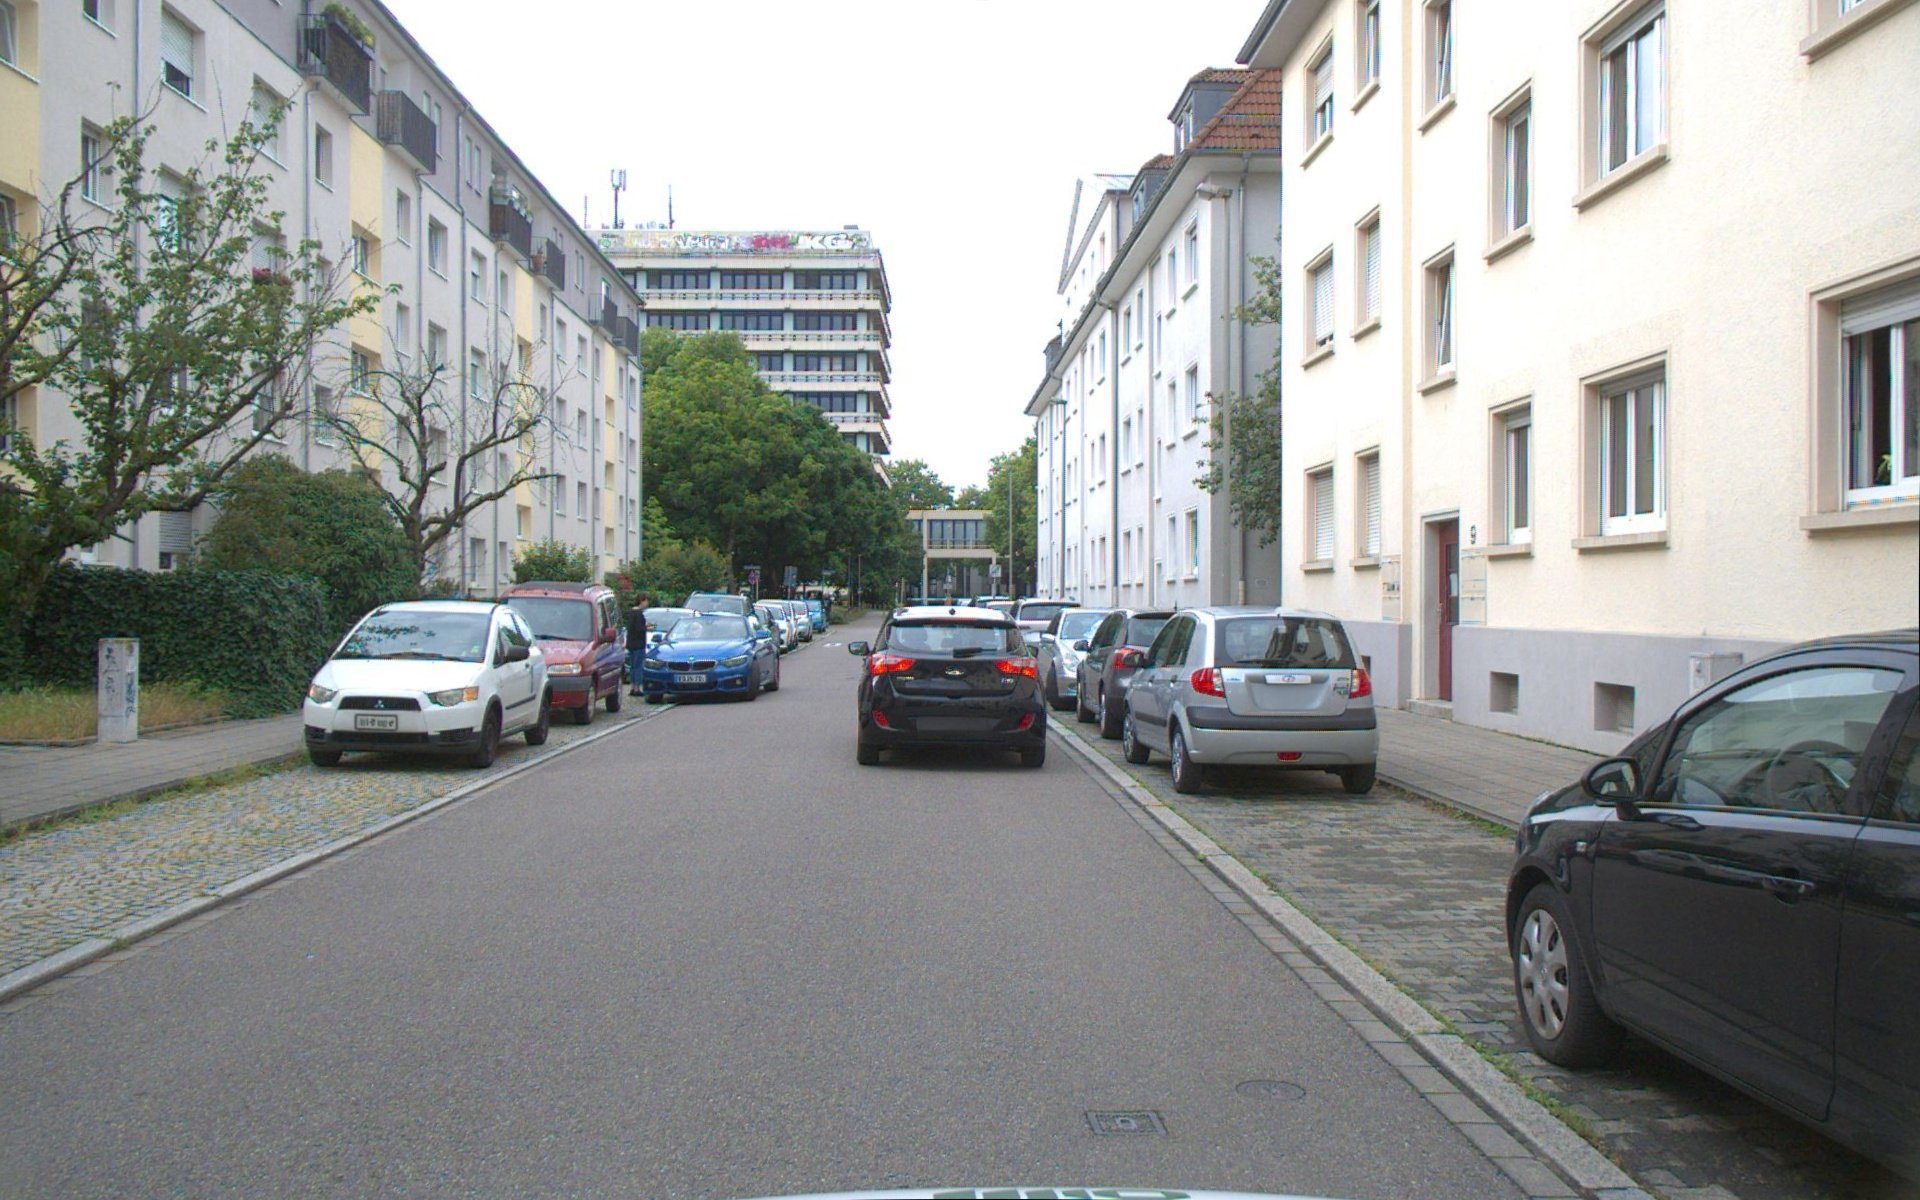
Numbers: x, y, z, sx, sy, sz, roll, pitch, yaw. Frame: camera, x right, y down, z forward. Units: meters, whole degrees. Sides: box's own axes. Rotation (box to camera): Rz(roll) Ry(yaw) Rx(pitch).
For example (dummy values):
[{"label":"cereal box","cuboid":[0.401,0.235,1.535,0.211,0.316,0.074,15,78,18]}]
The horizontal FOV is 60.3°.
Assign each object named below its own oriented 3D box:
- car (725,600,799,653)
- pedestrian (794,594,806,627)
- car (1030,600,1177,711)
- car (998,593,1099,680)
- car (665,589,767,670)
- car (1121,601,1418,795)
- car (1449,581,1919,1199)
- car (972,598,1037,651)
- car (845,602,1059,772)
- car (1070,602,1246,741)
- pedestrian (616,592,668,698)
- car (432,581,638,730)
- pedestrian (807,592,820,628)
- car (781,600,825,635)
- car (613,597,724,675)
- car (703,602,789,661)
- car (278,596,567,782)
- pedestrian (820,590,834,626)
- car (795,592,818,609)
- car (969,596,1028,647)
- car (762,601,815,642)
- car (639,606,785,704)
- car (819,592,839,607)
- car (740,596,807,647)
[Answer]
[{"label":"car","cuboid":[-6.063,0.782,51.075,1.857,1.478,4.519,2,0,-2]},{"label":"pedestrian","cuboid":[-8.517,0.556,88.027,0.588,1.743,0.648,0,0,0]},{"label":"car","cuboid":[2.060,0.762,24.866,1.690,1.502,4.503,0,0,-2]},{"label":"car","cuboid":[1.747,0.701,33.895,1.783,1.671,4.090,0,0,-1]},{"label":"car","cuboid":[-5.769,0.671,39.565,1.857,1.770,4.473,2,0,-2]},{"label":"car","cuboid":[2.574,0.761,14.664,1.811,1.475,3.831,1,0,-2]},{"label":"car","cuboid":[2.874,0.739,4.510,1.691,1.544,4.058,1,0,-3]},{"label":"car","cuboid":[1.305,0.704,50.261,1.783,1.529,4.090,0,0,-1]},{"label":"car","cuboid":[-0.109,0.769,16.686,1.864,1.458,4.232,-1,0,-1]},{"label":"car","cuboid":[2.314,0.794,20.190,1.570,1.502,3.868,1,0,-2]},{"label":"pedestrian","cuboid":[-5.318,0.735,27.673,0.729,1.731,0.792,-1,0,-19]},{"label":"car","cuboid":[-5.600,0.679,22.360,1.918,1.801,4.358,1,0,-4]},{"label":"pedestrian","cuboid":[-7.802,0.530,88.140,0.592,1.863,0.675,0,0,0]},{"label":"car","cuboid":[-7.338,0.791,77.788,1.954,1.568,3.997,1,0,-4]},{"label":"car","cuboid":[-5.921,0.691,34.012,1.709,1.490,3.784,-1,0,-2]},{"label":"car","cuboid":[-5.854,0.834,45.715,1.857,1.478,4.664,2,0,-2]},{"label":"car","cuboid":[-5.204,0.787,16.536,1.686,1.597,3.869,2,0,-2]},{"label":"pedestrian","cuboid":[-7.055,0.421,87.924,0.699,1.863,0.797,0,0,0]},{"label":"car","cuboid":[-12.578,0.053,135.839,1.632,1.356,3.394,0,0,-2]},{"label":"car","cuboid":[1.237,0.682,55.023,1.783,1.631,4.090,0,0,-1]},{"label":"car","cuboid":[-6.757,0.827,65.486,1.954,1.568,3.997,1,0,-4]},{"label":"car","cuboid":[-4.047,0.856,27.664,1.807,1.476,4.500,0,0,-1]},{"label":"car","cuboid":[-11.785,-0.033,149.307,1.632,1.356,3.394,0,0,-2]},{"label":"car","cuboid":[-6.401,0.721,57.188,1.857,1.627,4.519,2,0,-2]}]
